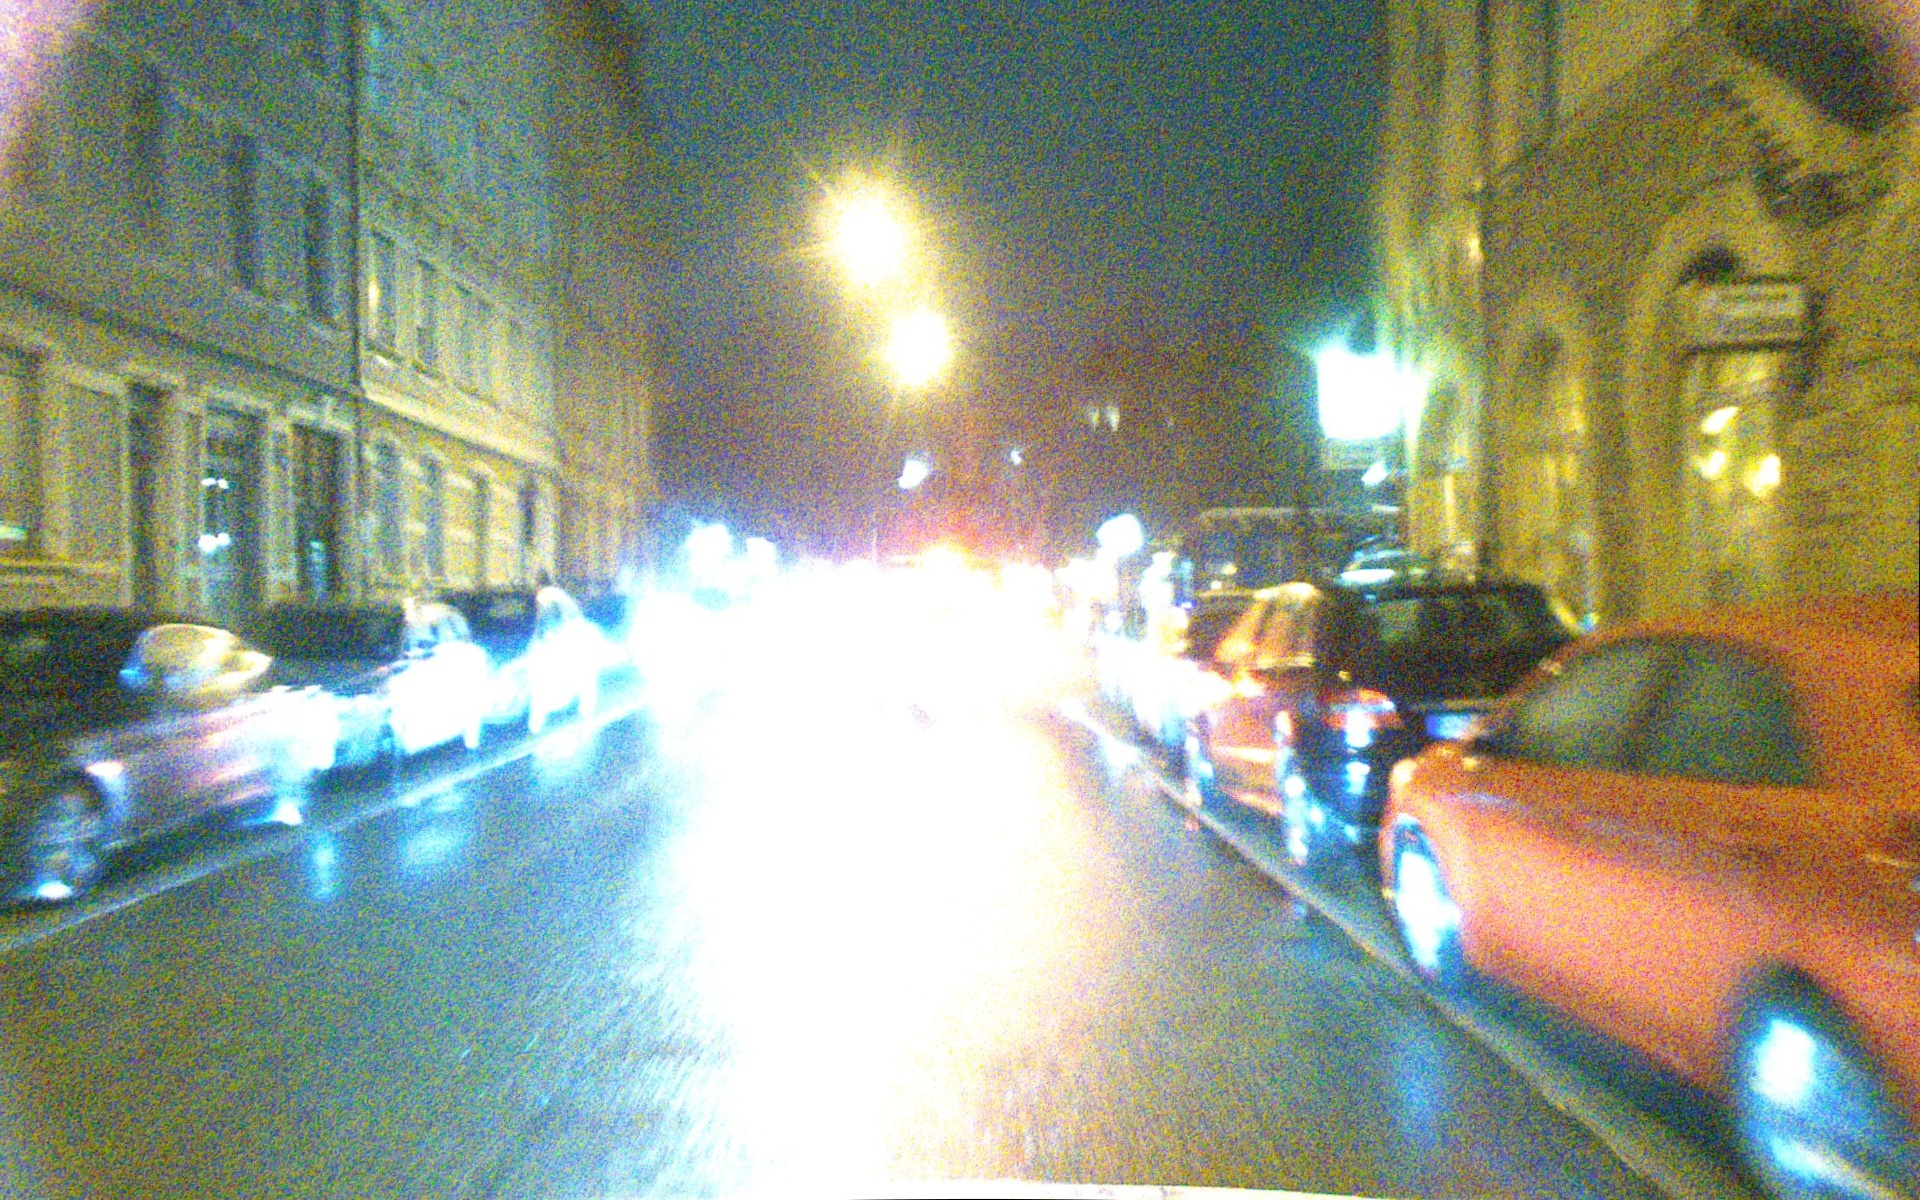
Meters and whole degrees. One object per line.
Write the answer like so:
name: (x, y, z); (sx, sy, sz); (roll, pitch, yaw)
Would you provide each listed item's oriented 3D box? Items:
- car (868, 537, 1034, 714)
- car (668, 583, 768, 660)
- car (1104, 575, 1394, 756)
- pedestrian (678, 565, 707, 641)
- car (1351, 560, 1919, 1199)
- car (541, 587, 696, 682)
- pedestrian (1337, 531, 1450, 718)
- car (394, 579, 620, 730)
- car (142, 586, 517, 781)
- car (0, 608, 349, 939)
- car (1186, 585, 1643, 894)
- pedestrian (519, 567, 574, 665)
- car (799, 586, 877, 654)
car: (-0.123, 0.290, 21.941); (1.955, 2.085, 4.693); (0, 0, -1)
car: (-5.736, 0.485, 39.657); (1.795, 1.747, 4.593); (0, 0, -1)
car: (2.519, 0.522, 15.404); (1.879, 1.436, 3.998); (-1, 0, -2)
pedestrian: (-7.150, 0.089, 44.286); (0.643, 2.008, 0.769); (2, -1, -4)
car: (2.628, 0.672, 5.063); (1.656, 1.524, 3.887); (-1, 0, -5)
car: (-5.796, 0.545, 28.602); (1.795, 1.512, 4.593); (0, 0, -1)
pedestrian: (4.417, 0.235, 16.922); (0.844, 1.819, 1.083); (-2, 1, 2)
car: (-5.257, 0.584, 19.679); (1.710, 1.616, 3.765); (0, 0, -1)
car: (-5.460, 0.643, 14.969); (1.795, 1.507, 4.306); (0, 0, -1)
car: (-5.085, 0.767, 9.213); (1.785, 1.414, 4.424); (0, 0, -1)
car: (2.547, 0.695, 10.235); (1.655, 1.524, 3.890); (-1, 0, -2)
pedestrian: (-8.007, 0.312, 32.072); (0.727, 1.836, 0.987); (2, -1, 2)
car: (-3.202, 0.496, 44.229); (1.882, 1.646, 4.572); (-2, 0, -2)
